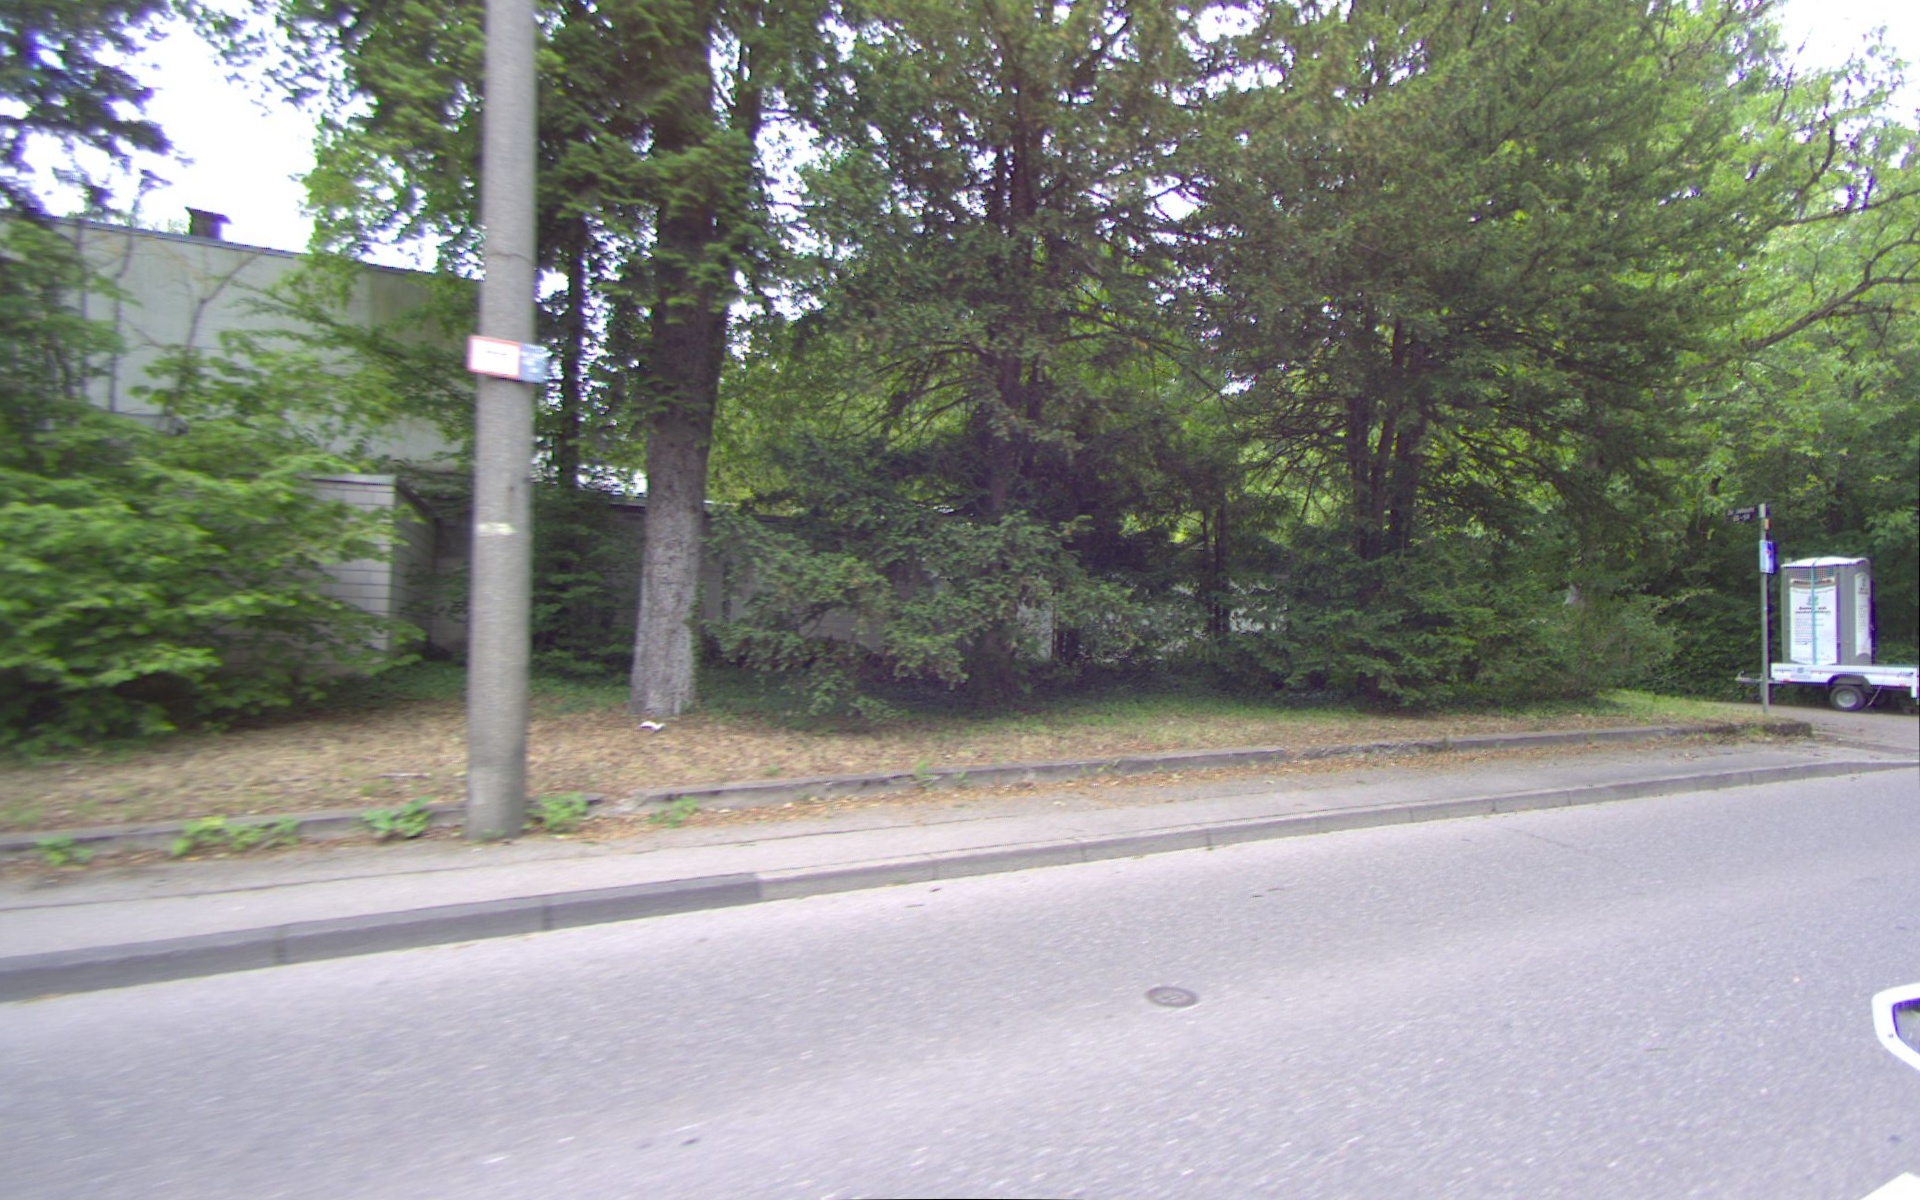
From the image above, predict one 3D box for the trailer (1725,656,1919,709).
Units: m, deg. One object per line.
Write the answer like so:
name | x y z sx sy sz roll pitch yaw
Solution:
trailer | 16.128 1.490 18.545 1.462 0.839 2.933 2 -2 -37
